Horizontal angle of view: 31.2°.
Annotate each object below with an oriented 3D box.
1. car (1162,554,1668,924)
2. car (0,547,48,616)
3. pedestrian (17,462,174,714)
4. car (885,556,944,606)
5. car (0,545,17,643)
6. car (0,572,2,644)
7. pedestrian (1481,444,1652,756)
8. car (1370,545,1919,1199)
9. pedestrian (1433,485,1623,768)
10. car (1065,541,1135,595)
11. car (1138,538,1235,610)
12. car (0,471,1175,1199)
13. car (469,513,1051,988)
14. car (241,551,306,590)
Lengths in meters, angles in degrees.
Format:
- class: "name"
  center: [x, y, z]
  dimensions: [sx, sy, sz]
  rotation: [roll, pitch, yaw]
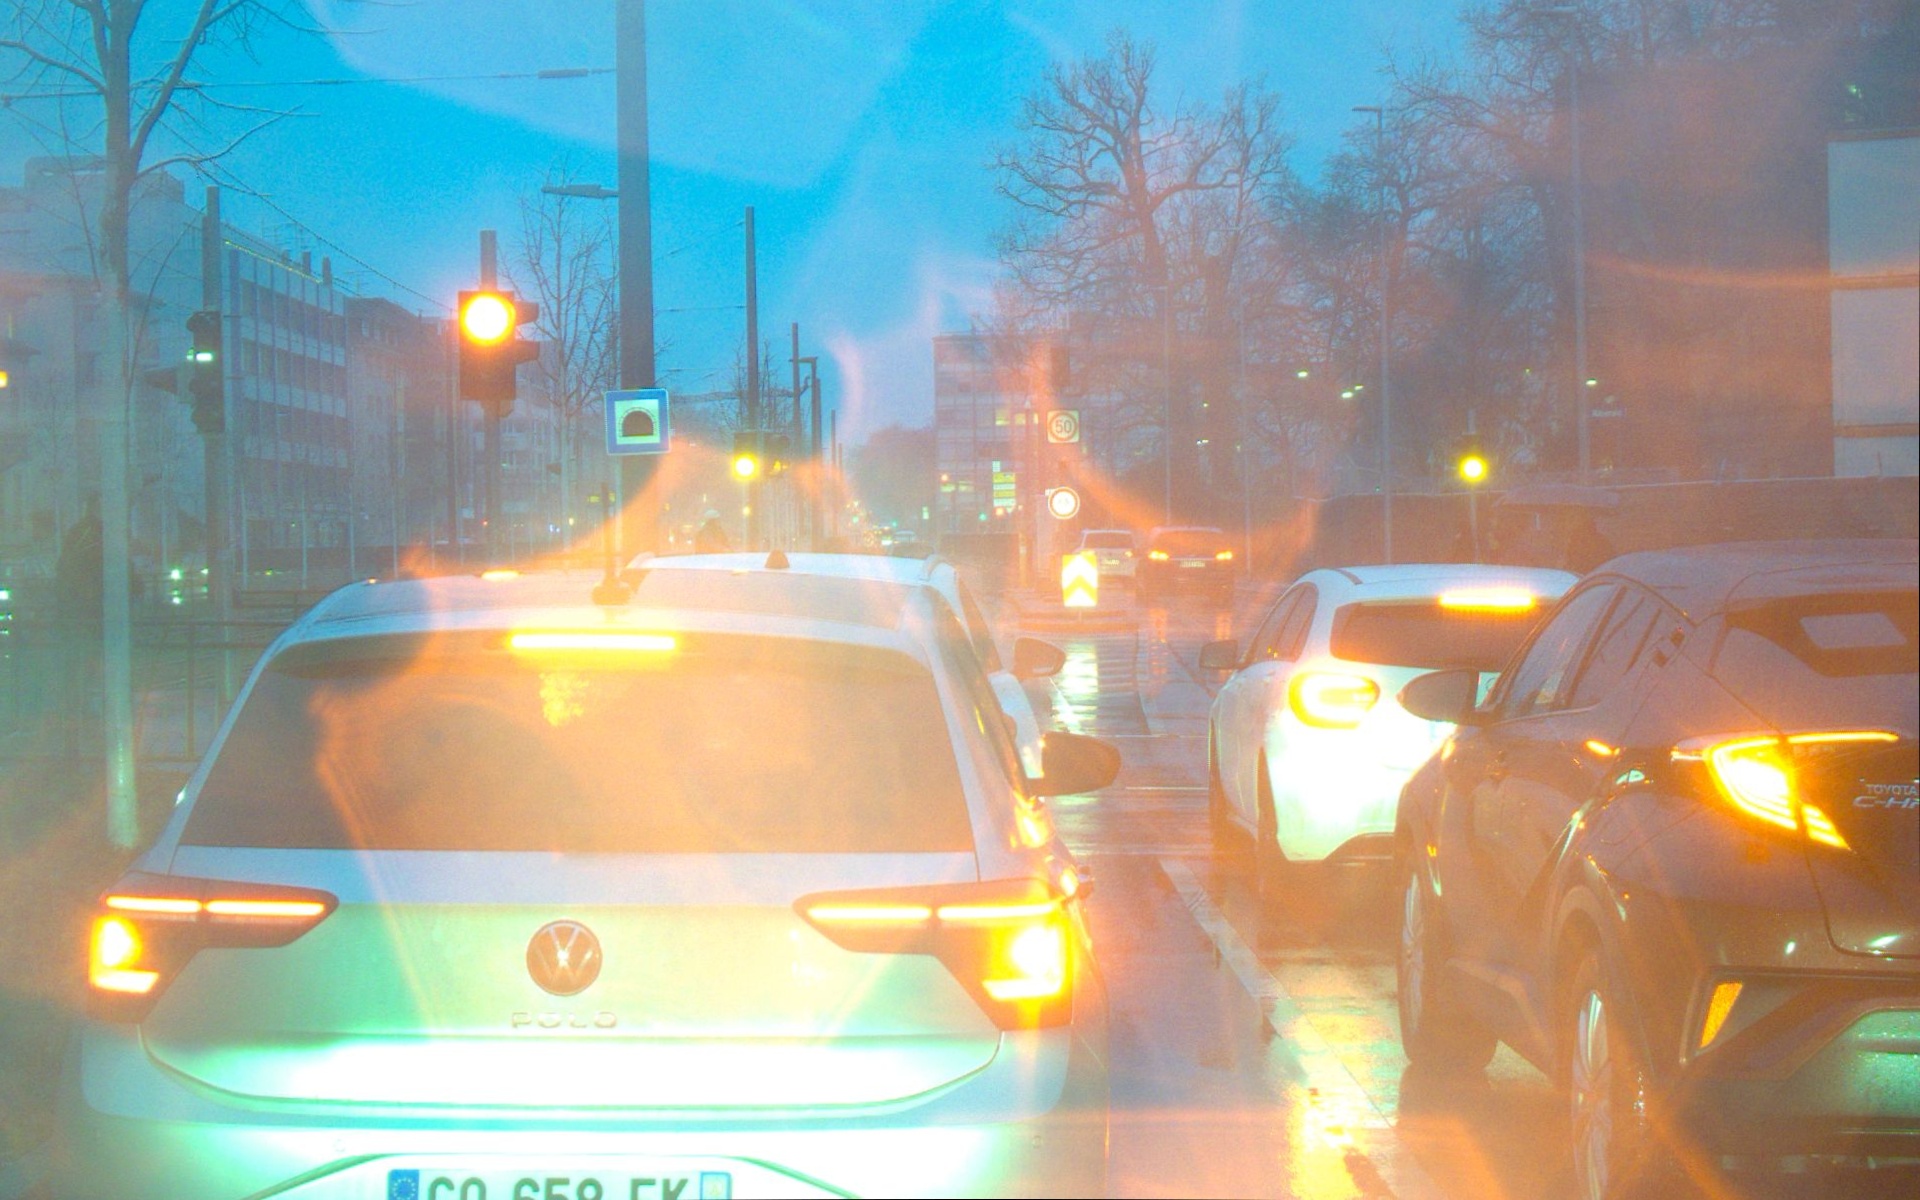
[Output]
- class: "car"
  center: [1.905, 0.522, 15.429]
  dimensions: [1.745, 1.428, 3.731]
  rotation: [1, 1, 0]
- class: "car"
  center: [-23.418, -0.466, 82.603]
  dimensions: [1.950, 1.597, 4.000]
  rotation: [1, 1, 0]
- class: "pedestrian"
  center: [-7.067, -0.108, 28.091]
  dimensions: [1.004, 2.007, 0.962]
  rotation: [-2, 1, -28]
- class: "car"
  center: [-1.375, -0.590, 105.269]
  dimensions: [1.737, 1.415, 4.394]
  rotation: [-1, 1, 0]
- class: "car"
  center: [-16.675, -0.094, 55.263]
  dimensions: [1.993, 1.597, 4.000]
  rotation: [1, 1, -1]
- class: "car"
  center: [-21.750, 0.216, 72.747]
  dimensions: [1.867, 1.571, 4.000]
  rotation: [-1, 1, -1]
- class: "pedestrian"
  center: [4.007, -0.012, 22.778]
  dimensions: [0.959, 2.007, 1.008]
  rotation: [-1, 1, 2]
- class: "car"
  center: [2.139, 0.633, 8.278]
  dimensions: [1.800, 1.505, 3.895]
  rotation: [-1, 1, 0]
- class: "pedestrian"
  center: [4.146, 0.179, 25.129]
  dimensions: [0.958, 2.007, 1.008]
  rotation: [-1, 1, -23]
- class: "car"
  center: [3.852, -0.898, 94.794]
  dimensions: [1.737, 1.415, 3.703]
  rotation: [-1, 1, 0]
- class: "car"
  center: [4.695, -0.567, 71.596]
  dimensions: [1.737, 1.415, 3.703]
  rotation: [-1, 1, 0]
- class: "car"
  center: [-0.663, 0.536, 6.971]
  dimensions: [1.693, 1.528, 4.001]
  rotation: [0, 1, -4]
- class: "car"
  center: [-0.641, 0.419, 13.093]
  dimensions: [1.799, 1.461, 4.586]
  rotation: [-1, 1, 0]
- class: "car"
  center: [-29.121, -1.262, 146.006]
  dimensions: [1.950, 1.597, 4.000]
  rotation: [1, 1, 0]
